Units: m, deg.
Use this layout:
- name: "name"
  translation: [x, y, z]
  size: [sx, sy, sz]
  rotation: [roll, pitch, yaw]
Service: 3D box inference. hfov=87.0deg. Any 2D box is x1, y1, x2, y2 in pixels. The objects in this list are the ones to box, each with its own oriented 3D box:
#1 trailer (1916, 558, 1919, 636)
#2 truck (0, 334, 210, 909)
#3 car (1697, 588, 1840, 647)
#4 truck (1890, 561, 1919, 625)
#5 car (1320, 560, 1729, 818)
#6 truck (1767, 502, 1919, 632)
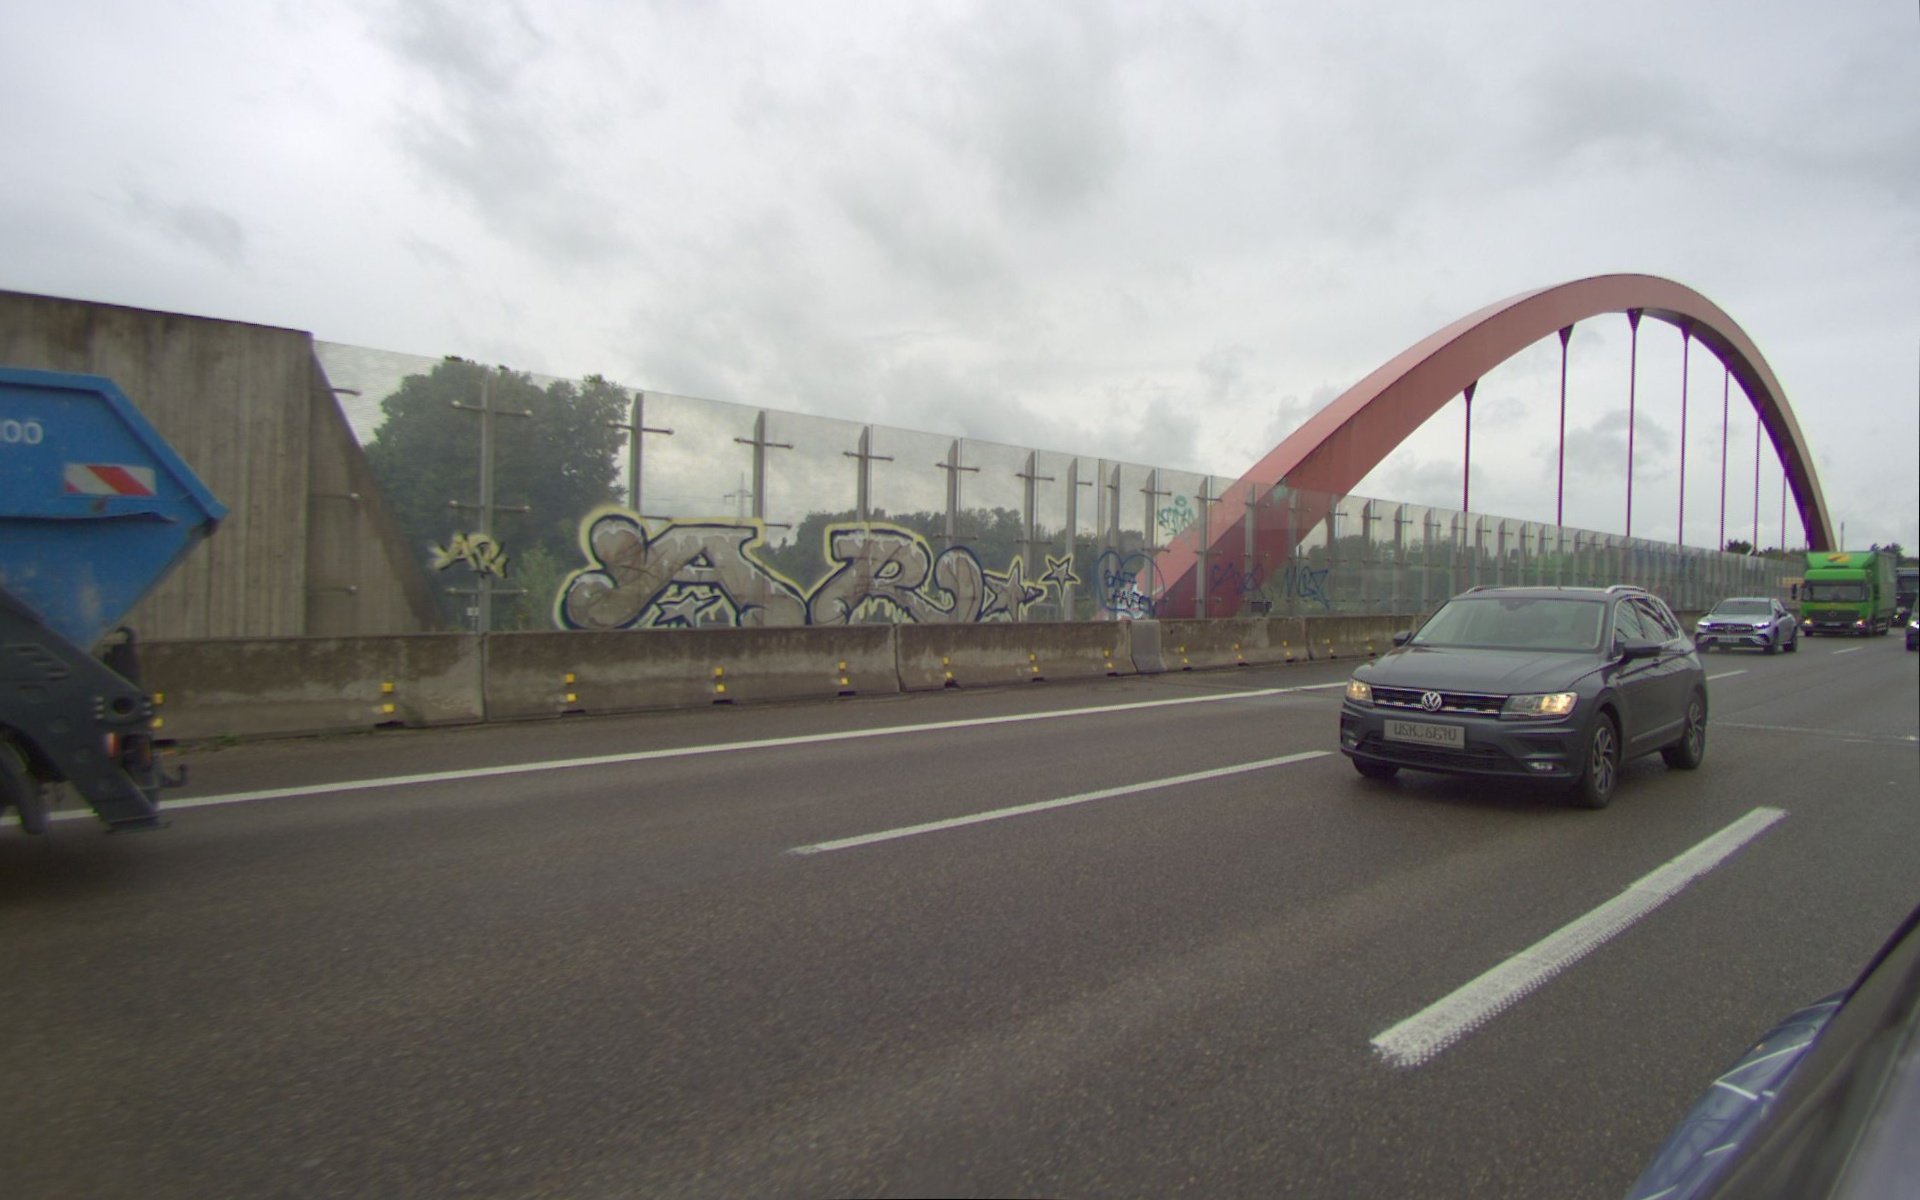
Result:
- name: "trailer"
  translation: [36.622, -0.044, 36.396]
  size: [7.383, 2.675, 2.724]
  rotation: [0, 1, -43]
- name: "truck"
  translation: [-6.740, 0.098, 3.960]
  size: [6.033, 2.538, 2.366]
  rotation: [0, -1, -39]
- name: "car"
  translation: [24.274, 0.470, 30.317]
  size: [5.227, 1.640, 1.999]
  rotation: [0, 0, -36]
- name: "truck"
  translation: [64.767, -0.445, 67.884]
  size: [12.505, 3.999, 2.815]
  rotation: [0, 1, -45]
- name: "car"
  translation: [4.984, 0.572, 8.700]
  size: [4.034, 1.691, 1.914]
  rotation: [0, 0, -42]
- name: "truck"
  translation: [41.133, -1.387, 46.843]
  size: [11.025, 5.333, 4.004]
  rotation: [0, 0, -41]
